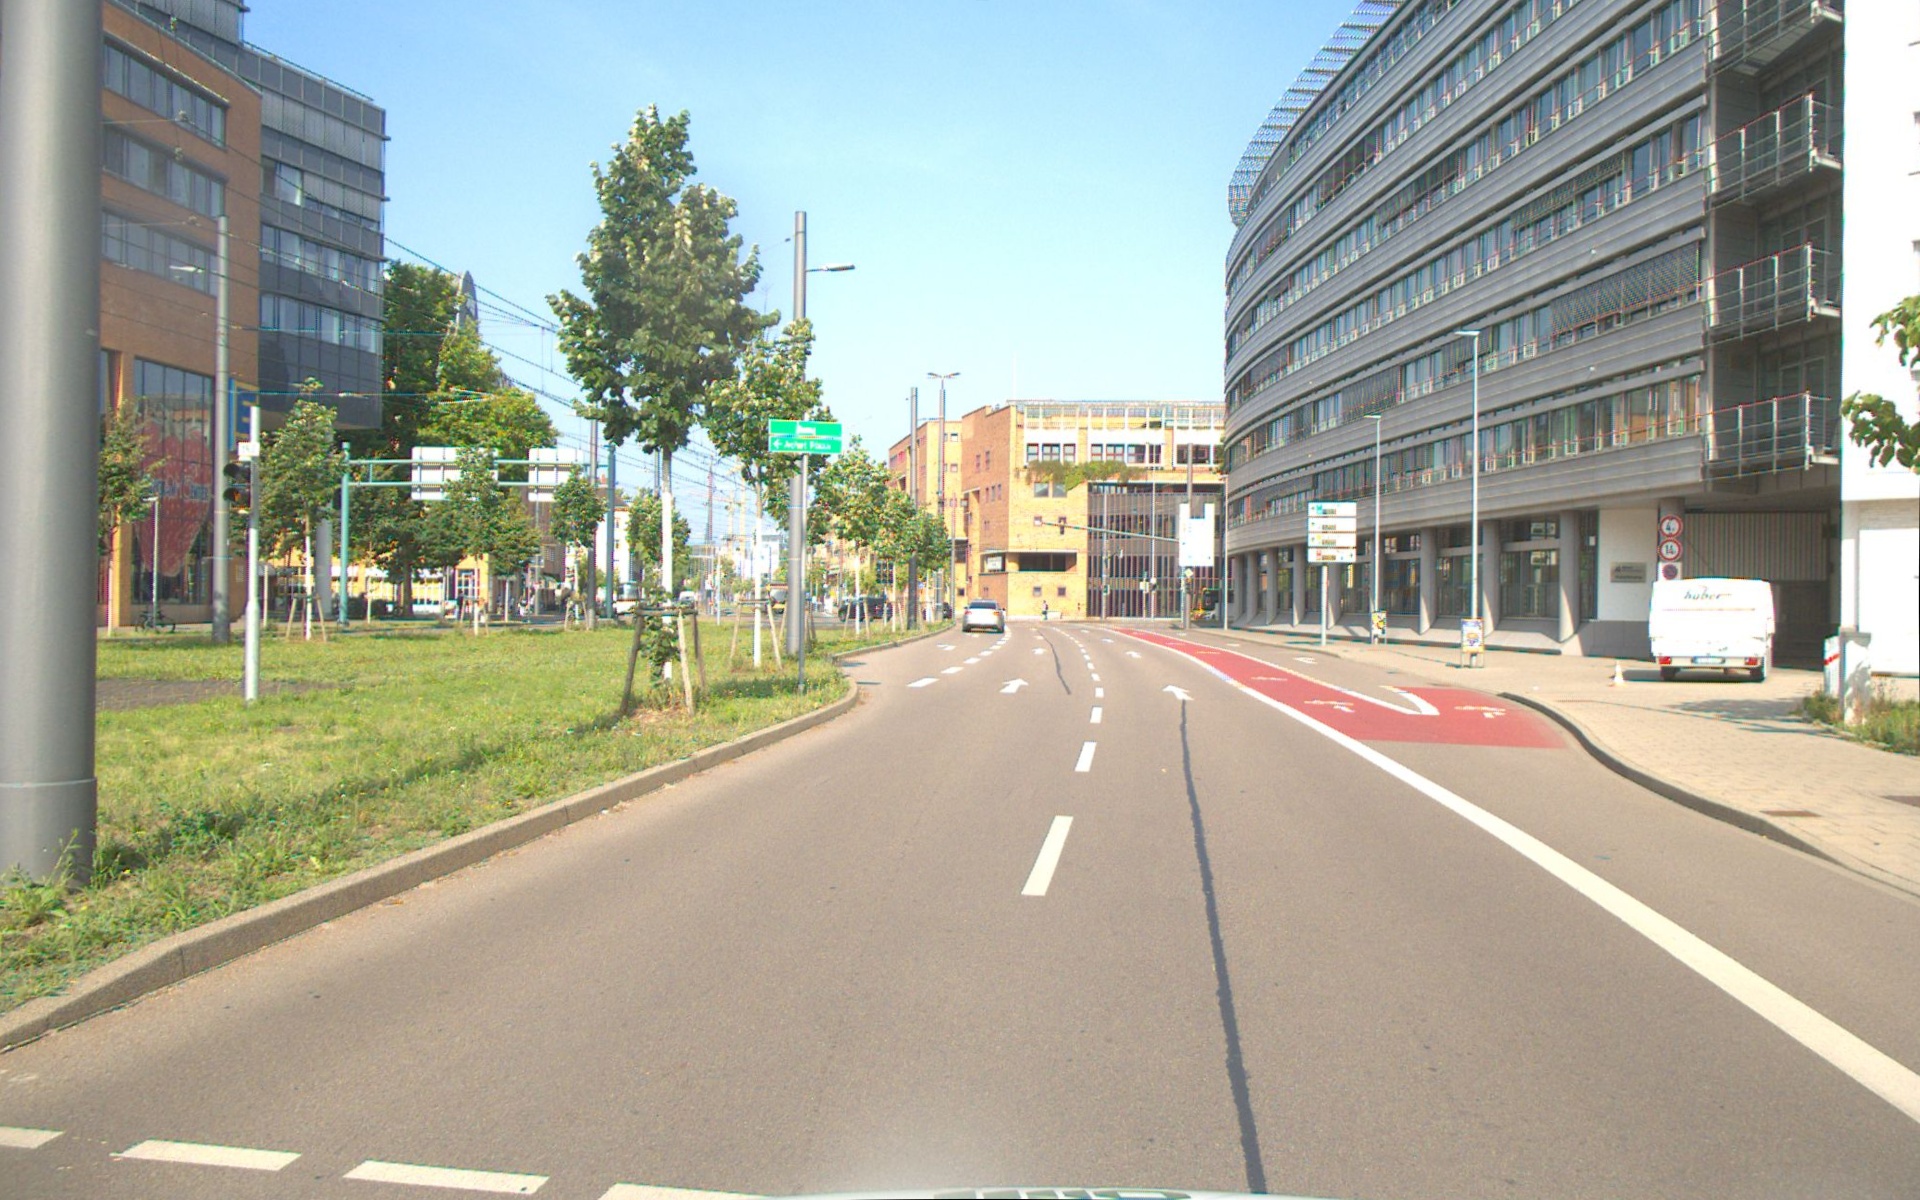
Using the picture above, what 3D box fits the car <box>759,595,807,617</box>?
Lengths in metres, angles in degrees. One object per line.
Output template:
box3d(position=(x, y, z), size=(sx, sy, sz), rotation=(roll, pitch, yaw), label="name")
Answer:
box3d(position=(-13.740, 0.496, 128.259), size=(3.538, 1.652, 1.867), rotation=(1, 0, -1), label="car")

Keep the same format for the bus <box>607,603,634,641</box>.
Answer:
box3d(position=(-37.397, 2.458, 182.318), size=(2.698, 3.990, 12.180), rotation=(1, -2, -11), label="bus")

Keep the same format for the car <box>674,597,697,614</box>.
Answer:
box3d(position=(-26.342, 0.528, 158.907), size=(1.695, 1.569, 3.446), rotation=(1, 0, -2), label="car")

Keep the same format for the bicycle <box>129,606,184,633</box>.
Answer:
box3d(position=(-27.842, 0.675, 57.309), size=(1.640, 0.923, 0.710), rotation=(1, -1, 17), label="bicycle")

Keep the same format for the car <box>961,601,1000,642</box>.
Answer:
box3d(position=(0.977, 0.994, 75.540), size=(1.669, 1.786, 3.891), rotation=(0, -2, 2), label="car")

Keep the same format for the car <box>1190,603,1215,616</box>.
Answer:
box3d(position=(20.588, 0.790, 140.449), size=(1.911, 0.975, 1.094), rotation=(2, -3, 1), label="car")

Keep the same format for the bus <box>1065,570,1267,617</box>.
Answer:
box3d(position=(17.830, -0.561, 143.765), size=(17.247, 3.877, 2.865), rotation=(0, -2, 1), label="bus")

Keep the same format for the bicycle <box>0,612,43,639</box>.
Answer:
box3d(position=(-32.900, 0.886, 57.503), size=(2.004, 0.937, 0.381), rotation=(1, 0, 12), label="bicycle")

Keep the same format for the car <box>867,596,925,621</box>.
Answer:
box3d(position=(-4.594, 0.638, 119.502), size=(1.964, 1.708, 3.975), rotation=(-1, -2, 42), label="car")

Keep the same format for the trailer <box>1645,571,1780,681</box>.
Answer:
box3d(position=(16.477, 0.509, 36.012), size=(2.343, 2.189, 5.941), rotation=(0, 0, 28), label="trailer")

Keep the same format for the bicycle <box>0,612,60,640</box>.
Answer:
box3d(position=(-32.789, 0.907, 58.232), size=(2.004, 0.937, 0.574), rotation=(1, 0, 12), label="bicycle")

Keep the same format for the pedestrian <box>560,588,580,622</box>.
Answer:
box3d(position=(-23.865, 0.306, 101.111), size=(1.135, 2.049, 0.774), rotation=(1, -2, -12), label="pedestrian")

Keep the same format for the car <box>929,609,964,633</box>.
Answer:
box3d(position=(-1.218, 1.855, 144.166), size=(1.963, 2.049, 3.979), rotation=(1, -2, -18), label="car")

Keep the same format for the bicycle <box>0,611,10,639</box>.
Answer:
box3d(position=(-33.121, 0.834, 55.767), size=(2.004, 0.937, 0.574), rotation=(1, 0, 12), label="bicycle")

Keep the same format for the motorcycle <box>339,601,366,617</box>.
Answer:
box3d(position=(-40.152, 0.594, 109.317), size=(1.657, 1.012, 0.283), rotation=(0, 1, -7), label="motorcycle")
